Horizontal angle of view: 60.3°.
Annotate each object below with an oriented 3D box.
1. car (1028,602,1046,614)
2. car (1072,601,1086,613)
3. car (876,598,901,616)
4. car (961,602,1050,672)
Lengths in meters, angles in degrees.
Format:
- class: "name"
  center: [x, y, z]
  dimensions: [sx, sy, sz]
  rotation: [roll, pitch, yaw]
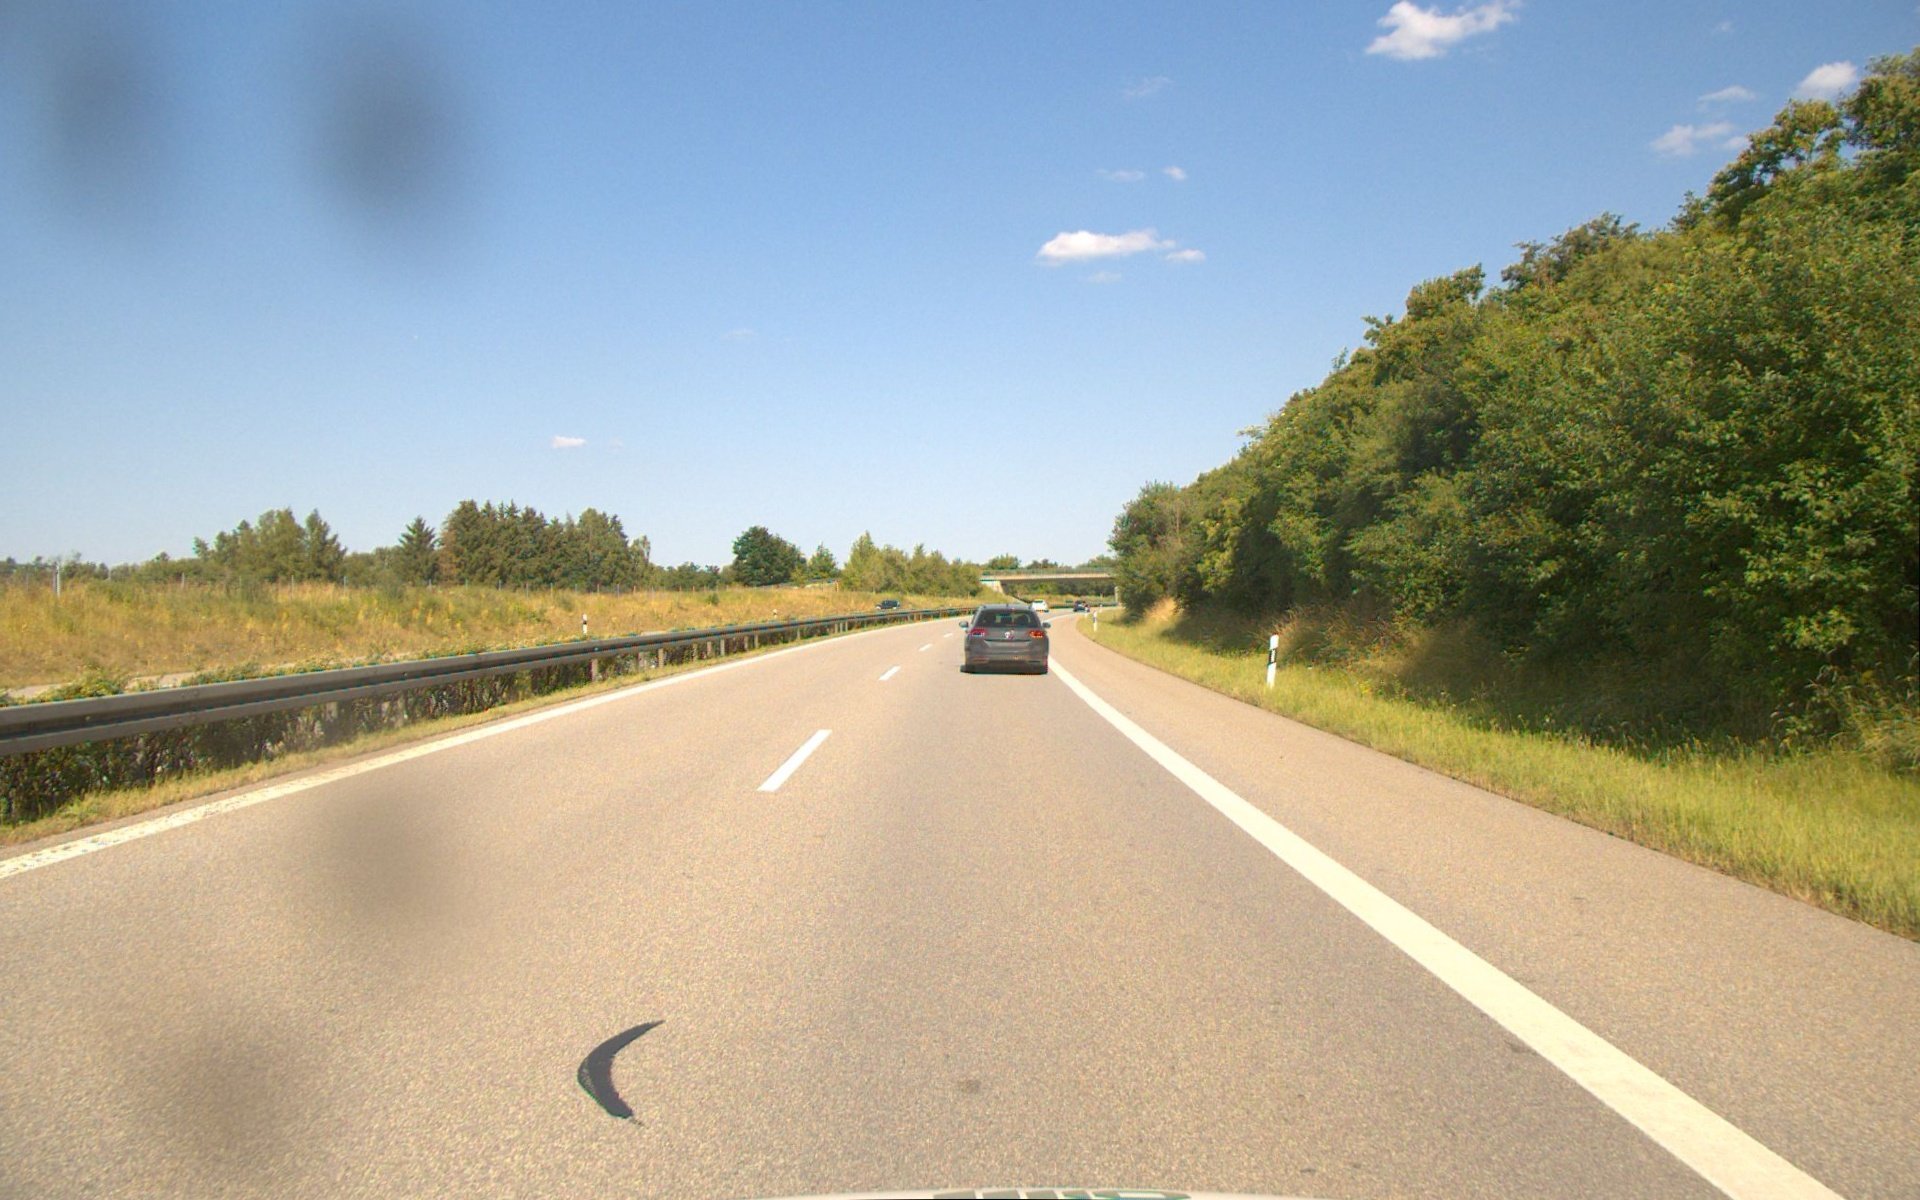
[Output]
- class: "car"
  center: [9.039, 0.942, 193.229]
  dimensions: [1.965, 1.368, 4.000]
  rotation: [2, -1, 1]
- class: "car"
  center: [14.954, 0.891, 207.156]
  dimensions: [1.674, 1.411, 3.356]
  rotation: [2, -1, 4]
- class: "car"
  center: [-6.707, 0.676, 156.332]
  dimensions: [1.793, 1.579, 4.468]
  rotation: [0, 1, 5]
- class: "car"
  center: [1.006, 0.790, 35.476]
  dimensions: [1.754, 1.368, 4.001]
  rotation: [2, -1, 3]
